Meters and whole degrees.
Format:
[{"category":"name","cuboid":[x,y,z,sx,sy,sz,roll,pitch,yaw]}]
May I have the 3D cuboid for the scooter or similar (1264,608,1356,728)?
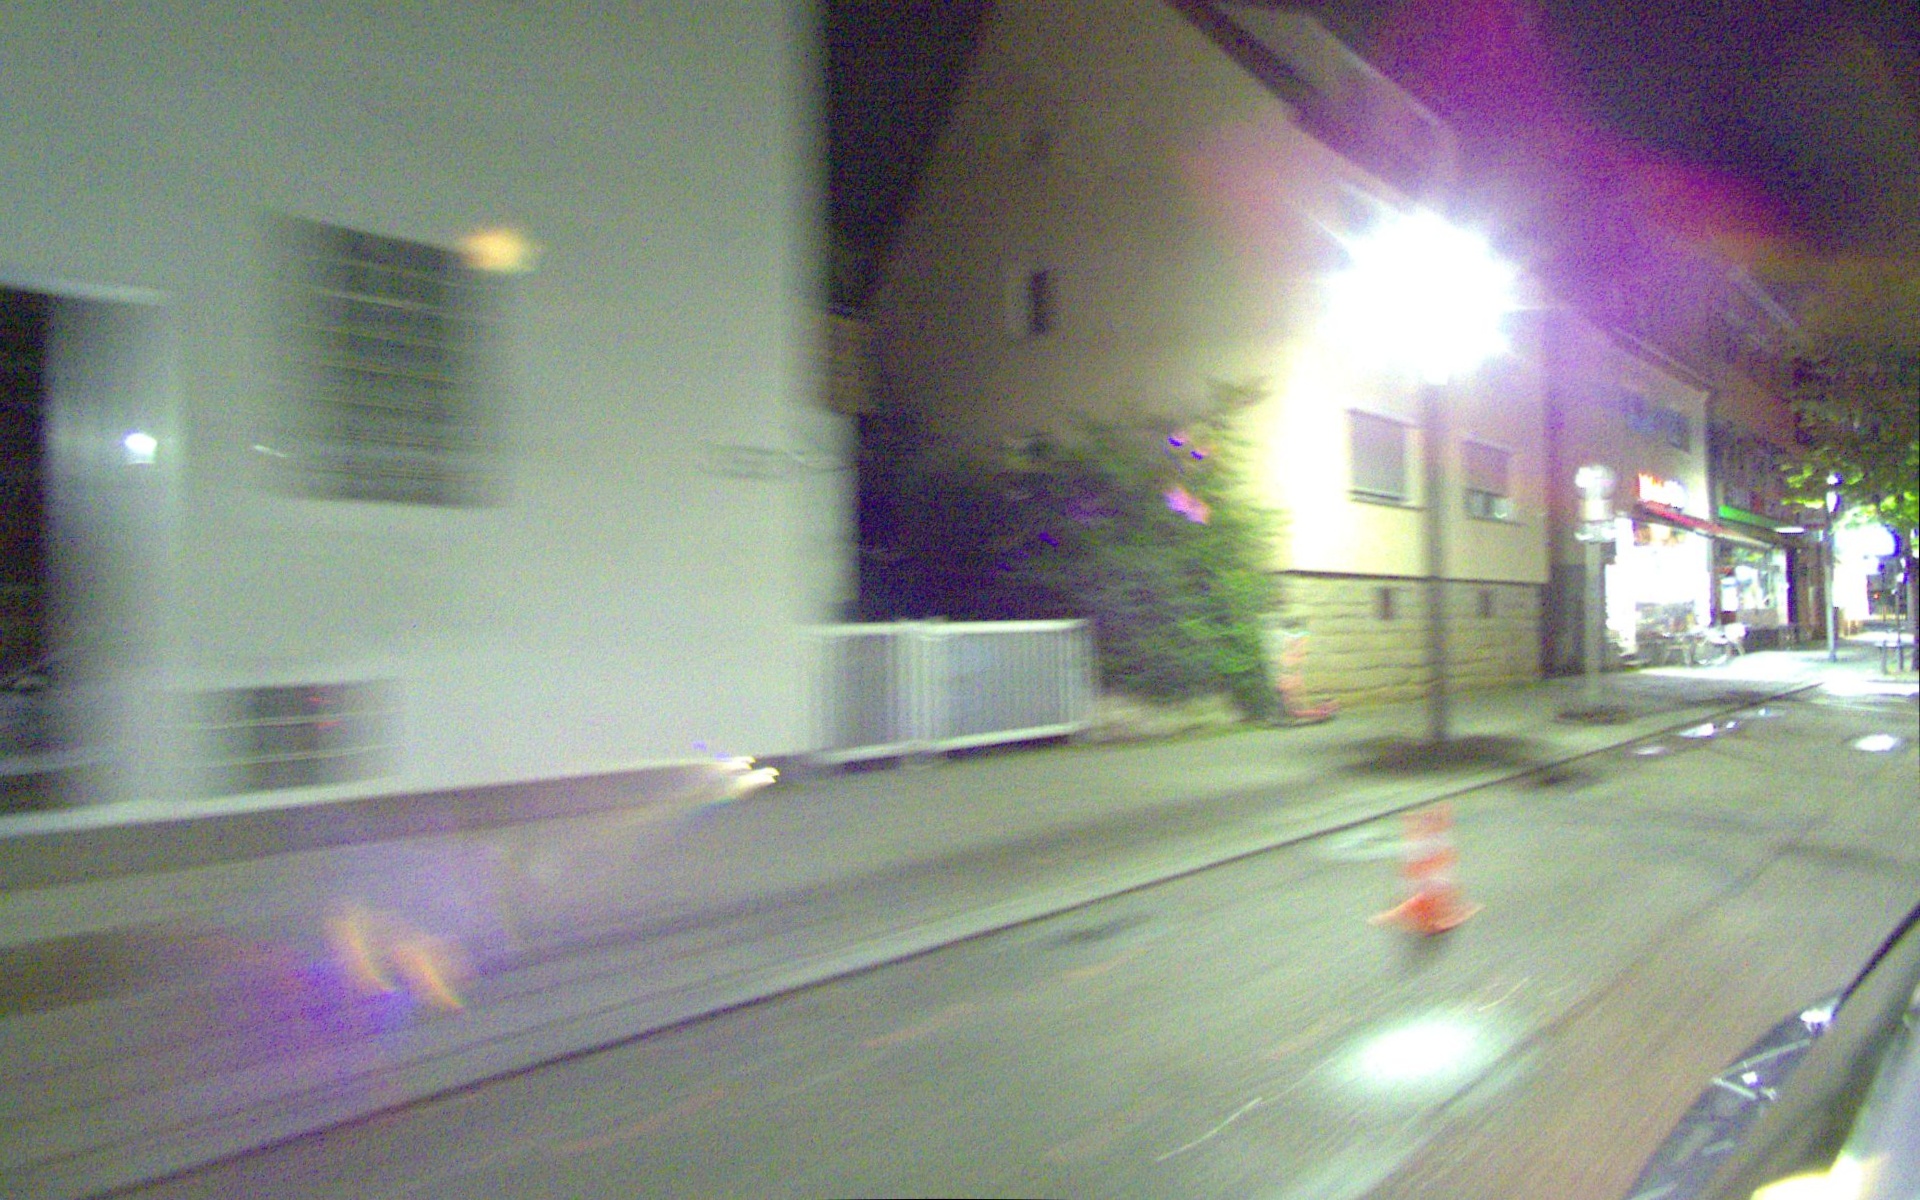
[{"category":"scooter or similar","cuboid":[4.063,0.752,11.699,1.282,1.293,0.374,-2,0,-40]}]
